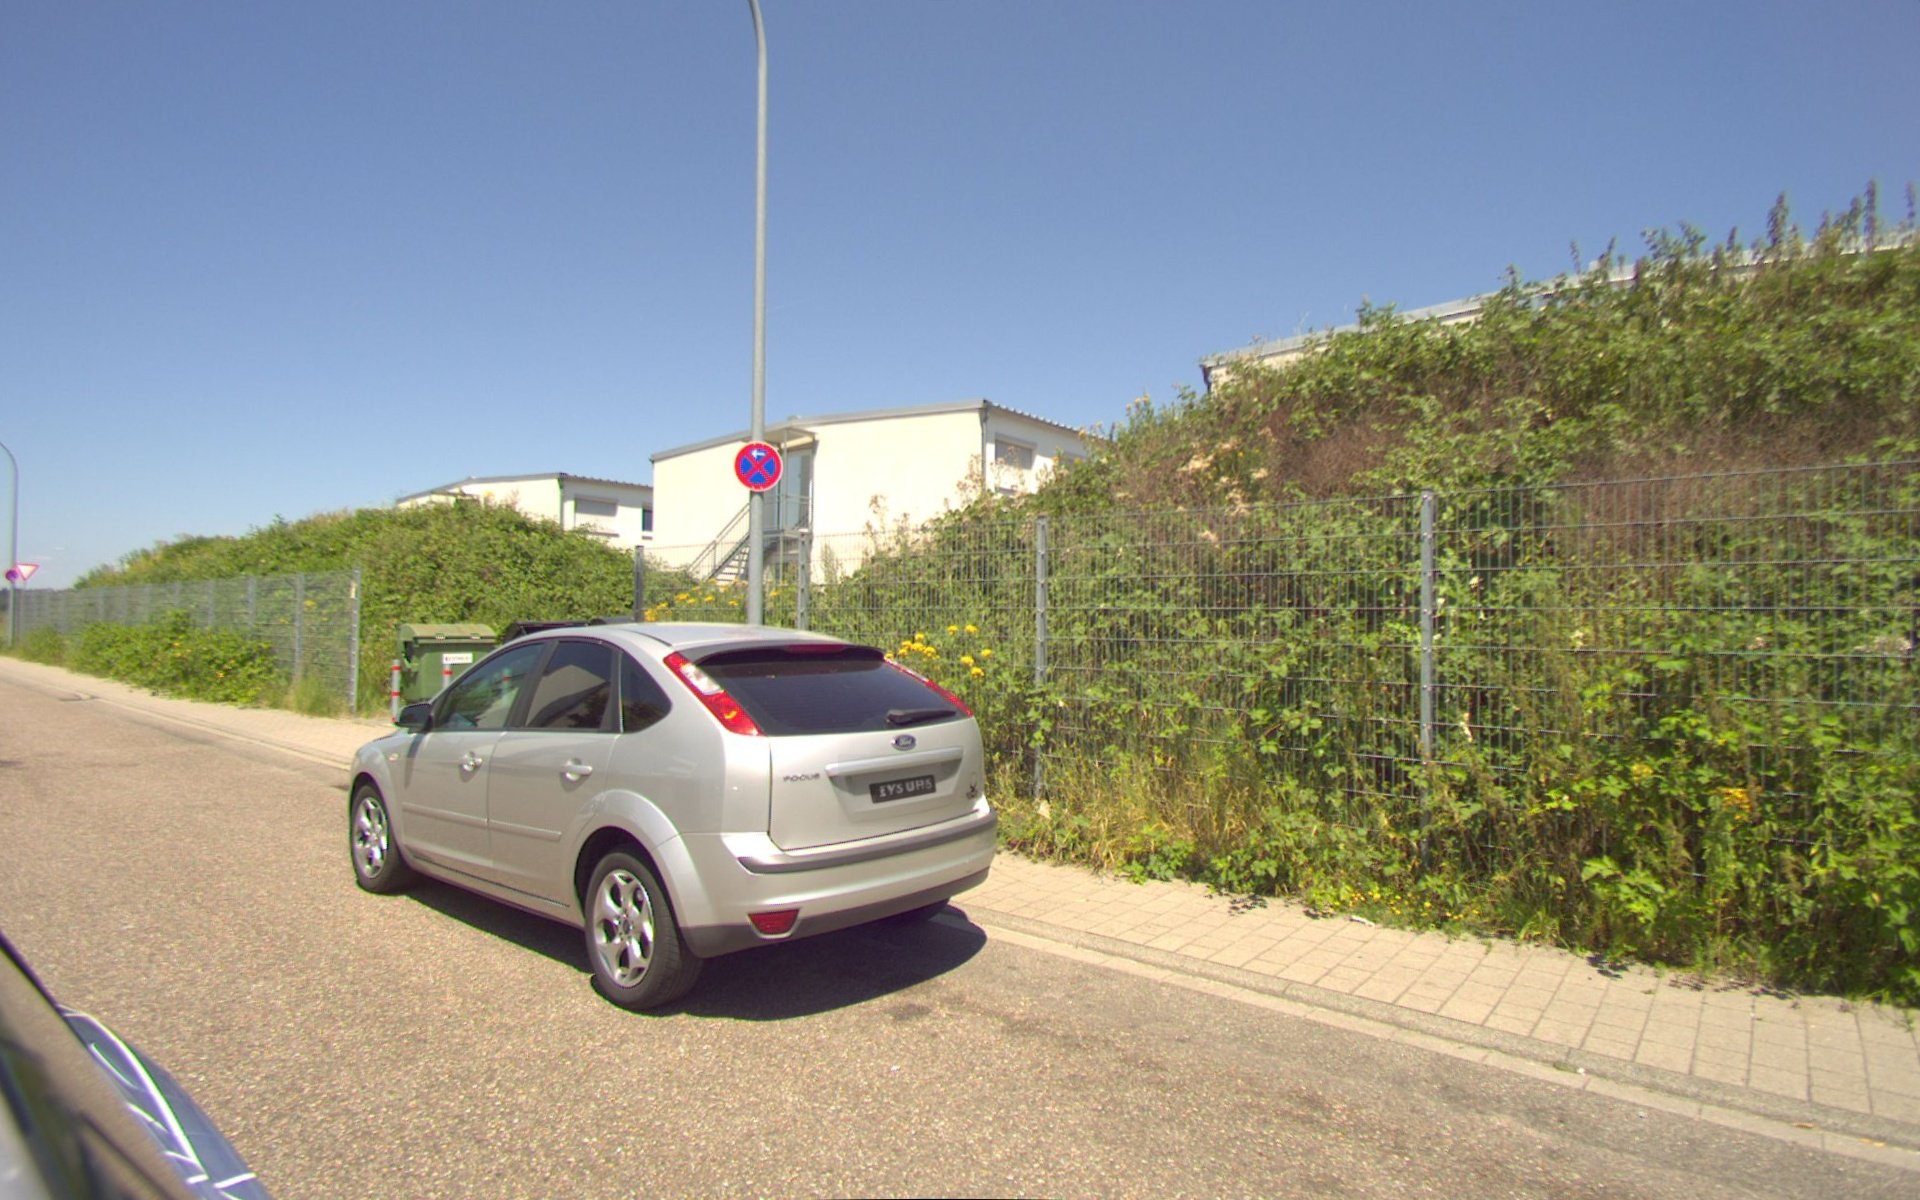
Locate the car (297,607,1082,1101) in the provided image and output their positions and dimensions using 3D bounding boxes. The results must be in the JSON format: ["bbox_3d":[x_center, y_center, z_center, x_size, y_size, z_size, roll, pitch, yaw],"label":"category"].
[{"bbox_3d":[-1.691,0.861,5.330,4.364,1.558,1.815,-1,-3,40],"label":"car"}]

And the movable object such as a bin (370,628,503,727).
[{"bbox_3d":[-8.512,1.210,16.442,1.837,1.488,1.290,-1,-2,40],"label":"movable object such as a bin"}]

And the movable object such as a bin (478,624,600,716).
[{"bbox_3d":[-7.521,1.194,18.071,1.765,1.476,1.335,-1,1,41],"label":"movable object such as a bin"}]

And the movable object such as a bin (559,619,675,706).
[{"bbox_3d":[-6.490,1.139,19.150,1.765,1.476,1.335,-1,1,41],"label":"movable object such as a bin"}]
